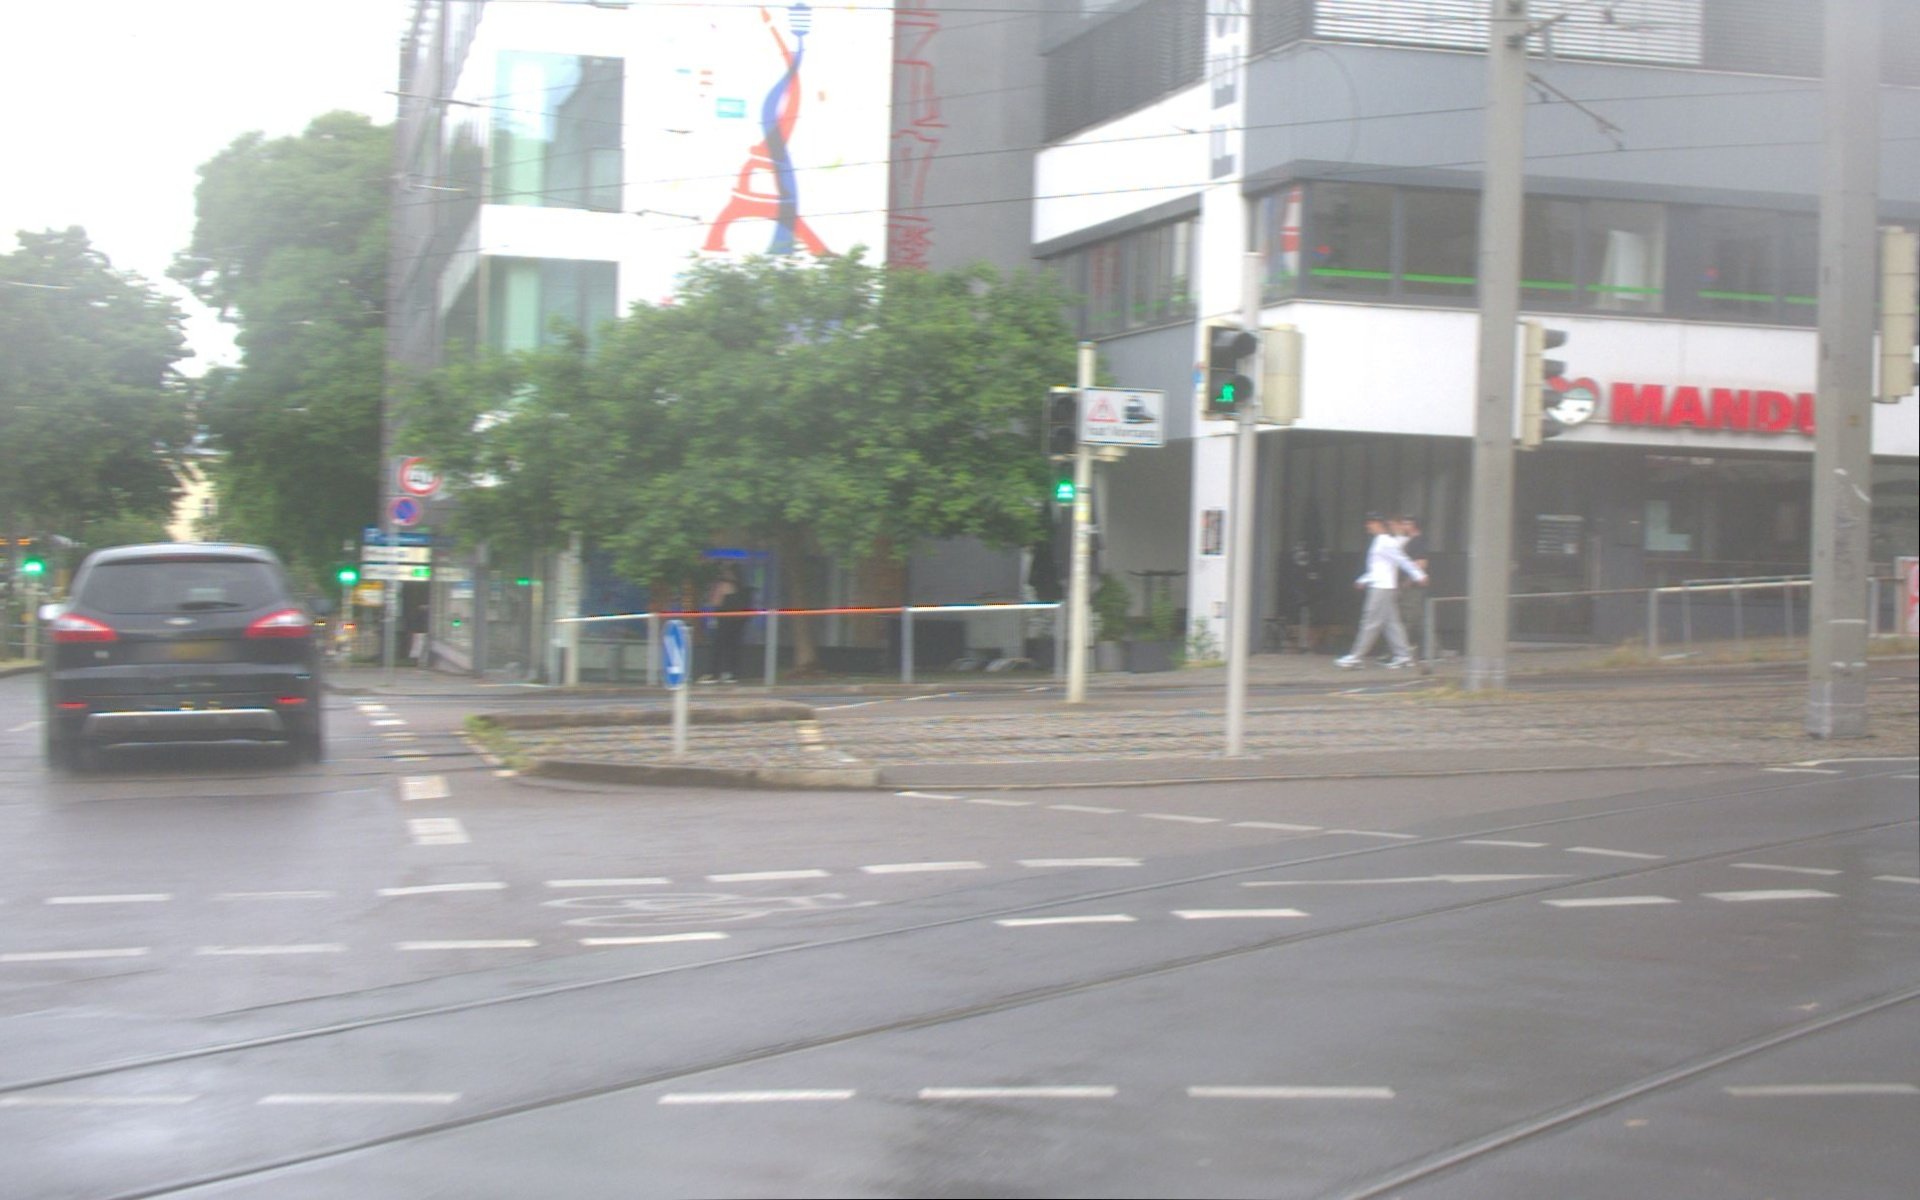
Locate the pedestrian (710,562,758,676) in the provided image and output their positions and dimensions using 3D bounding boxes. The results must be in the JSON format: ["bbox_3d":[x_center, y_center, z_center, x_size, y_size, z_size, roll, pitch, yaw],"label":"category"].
[{"bbox_3d":[-3.106,0.263,47.327,0.542,1.558,0.521,0,0,10],"label":"pedestrian"}]

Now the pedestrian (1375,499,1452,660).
[{"bbox_3d":[5.459,-0.247,41.375,0.718,1.907,0.697,0,0,28],"label":"pedestrian"}]

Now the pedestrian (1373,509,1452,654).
[{"bbox_3d":[5.567,-0.229,42.273,0.718,1.756,0.696,0,0,35],"label":"pedestrian"}]

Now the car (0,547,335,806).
[{"bbox_3d":[-5.362,0.455,23.697,2.035,1.579,4.393,1,1,-10],"label":"car"}]

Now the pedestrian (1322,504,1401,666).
[{"bbox_3d":[4.777,-0.183,40.913,0.718,1.907,0.697,0,0,28],"label":"pedestrian"}]
